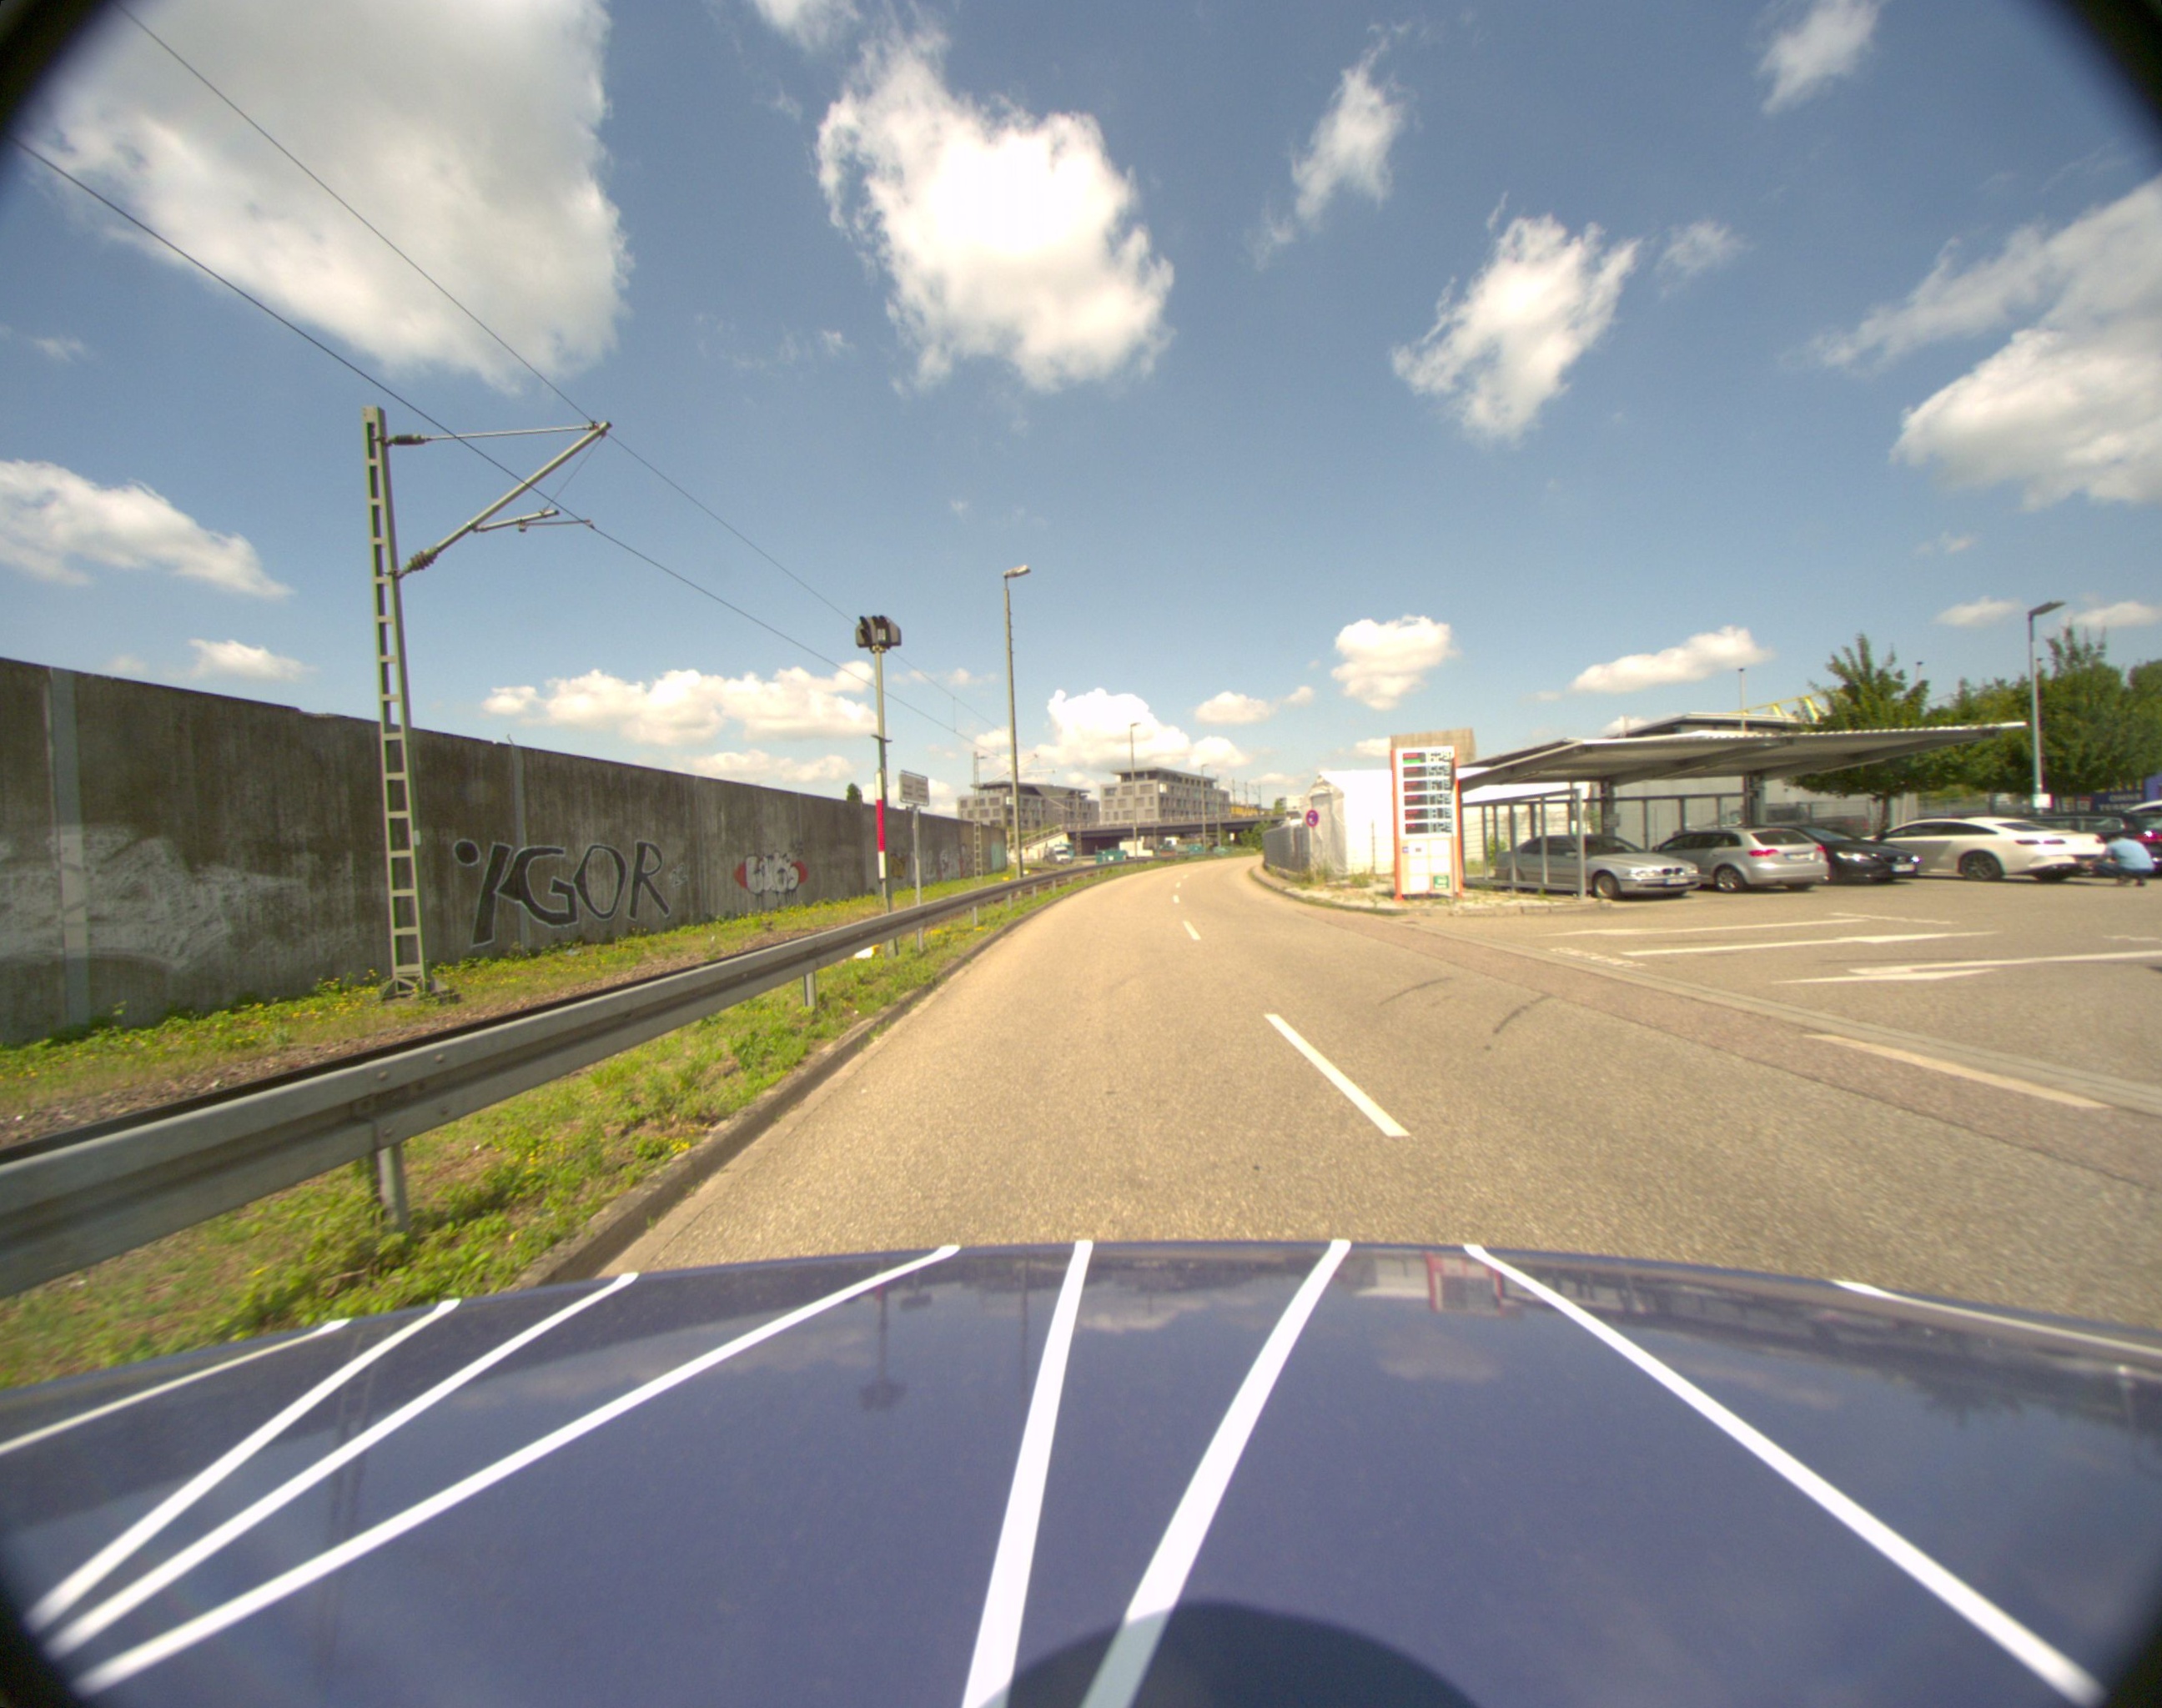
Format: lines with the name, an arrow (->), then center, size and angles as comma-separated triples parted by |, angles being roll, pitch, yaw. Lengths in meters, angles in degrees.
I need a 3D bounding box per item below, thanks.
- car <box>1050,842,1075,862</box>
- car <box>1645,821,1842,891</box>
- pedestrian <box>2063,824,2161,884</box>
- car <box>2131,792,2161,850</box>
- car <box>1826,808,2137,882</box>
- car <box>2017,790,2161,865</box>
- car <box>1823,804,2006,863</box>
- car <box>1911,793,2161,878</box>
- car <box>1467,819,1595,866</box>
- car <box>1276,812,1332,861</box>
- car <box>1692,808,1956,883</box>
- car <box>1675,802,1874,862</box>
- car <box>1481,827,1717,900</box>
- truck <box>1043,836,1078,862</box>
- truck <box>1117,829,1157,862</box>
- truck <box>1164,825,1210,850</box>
car -> -2.518, -0.297, 101.093 | 2.067, 2.512, 5.875 | -4, 1, -12
car -> 14.573, 0.021, 16.928 | 1.598, 1.337, 3.054 | -3, 1, -3
pedestrian -> 20.272, -0.004, 14.881 | 0.810, 1.119, 0.998 | -2, 1, -4
car -> 29.762, -0.877, 18.477 | 1.999, 1.543, 4.595 | -2, 1, -3
car -> 20.151, -0.215, 17.371 | 1.895, 1.429, 4.314 | -2, 1, -3
car -> 26.457, -0.661, 18.323 | 1.999, 1.768, 4.595 | -2, 1, -3
car -> 31.520, -0.771, 28.839 | 4.852, 2.002, 1.999 | -2, 1, -1
car -> 23.293, -0.462, 18.086 | 1.999, 1.757, 4.596 | -2, 1, -1
car -> 18.818, -0.463, 31.826 | 4.403, 1.822, 2.004 | -1, 2, 36
car -> 12.793, -0.977, 44.026 | 2.123, 2.523, 6.720 | -2, 1, 9
car -> 17.348, -0.193, 18.106 | 1.999, 1.489, 4.250 | -3, 1, -3
car -> 25.897, -0.818, 28.513 | 5.697, 2.002, 1.999 | -2, 1, -1
car -> 11.841, 0.156, 17.890 | 1.923, 1.369, 4.787 | -3, 1, -6
truck -> -3.118, -0.775, 112.645 | 2.658, 3.625, 6.875 | -5, 2, -22
truck -> 6.145, -0.943, 84.877 | 2.994, 3.400, 8.108 | -2, 1, -5
truck -> 13.688, -2.158, 98.507 | 5.500, 3.080, 2.003 | -1, 2, 28
